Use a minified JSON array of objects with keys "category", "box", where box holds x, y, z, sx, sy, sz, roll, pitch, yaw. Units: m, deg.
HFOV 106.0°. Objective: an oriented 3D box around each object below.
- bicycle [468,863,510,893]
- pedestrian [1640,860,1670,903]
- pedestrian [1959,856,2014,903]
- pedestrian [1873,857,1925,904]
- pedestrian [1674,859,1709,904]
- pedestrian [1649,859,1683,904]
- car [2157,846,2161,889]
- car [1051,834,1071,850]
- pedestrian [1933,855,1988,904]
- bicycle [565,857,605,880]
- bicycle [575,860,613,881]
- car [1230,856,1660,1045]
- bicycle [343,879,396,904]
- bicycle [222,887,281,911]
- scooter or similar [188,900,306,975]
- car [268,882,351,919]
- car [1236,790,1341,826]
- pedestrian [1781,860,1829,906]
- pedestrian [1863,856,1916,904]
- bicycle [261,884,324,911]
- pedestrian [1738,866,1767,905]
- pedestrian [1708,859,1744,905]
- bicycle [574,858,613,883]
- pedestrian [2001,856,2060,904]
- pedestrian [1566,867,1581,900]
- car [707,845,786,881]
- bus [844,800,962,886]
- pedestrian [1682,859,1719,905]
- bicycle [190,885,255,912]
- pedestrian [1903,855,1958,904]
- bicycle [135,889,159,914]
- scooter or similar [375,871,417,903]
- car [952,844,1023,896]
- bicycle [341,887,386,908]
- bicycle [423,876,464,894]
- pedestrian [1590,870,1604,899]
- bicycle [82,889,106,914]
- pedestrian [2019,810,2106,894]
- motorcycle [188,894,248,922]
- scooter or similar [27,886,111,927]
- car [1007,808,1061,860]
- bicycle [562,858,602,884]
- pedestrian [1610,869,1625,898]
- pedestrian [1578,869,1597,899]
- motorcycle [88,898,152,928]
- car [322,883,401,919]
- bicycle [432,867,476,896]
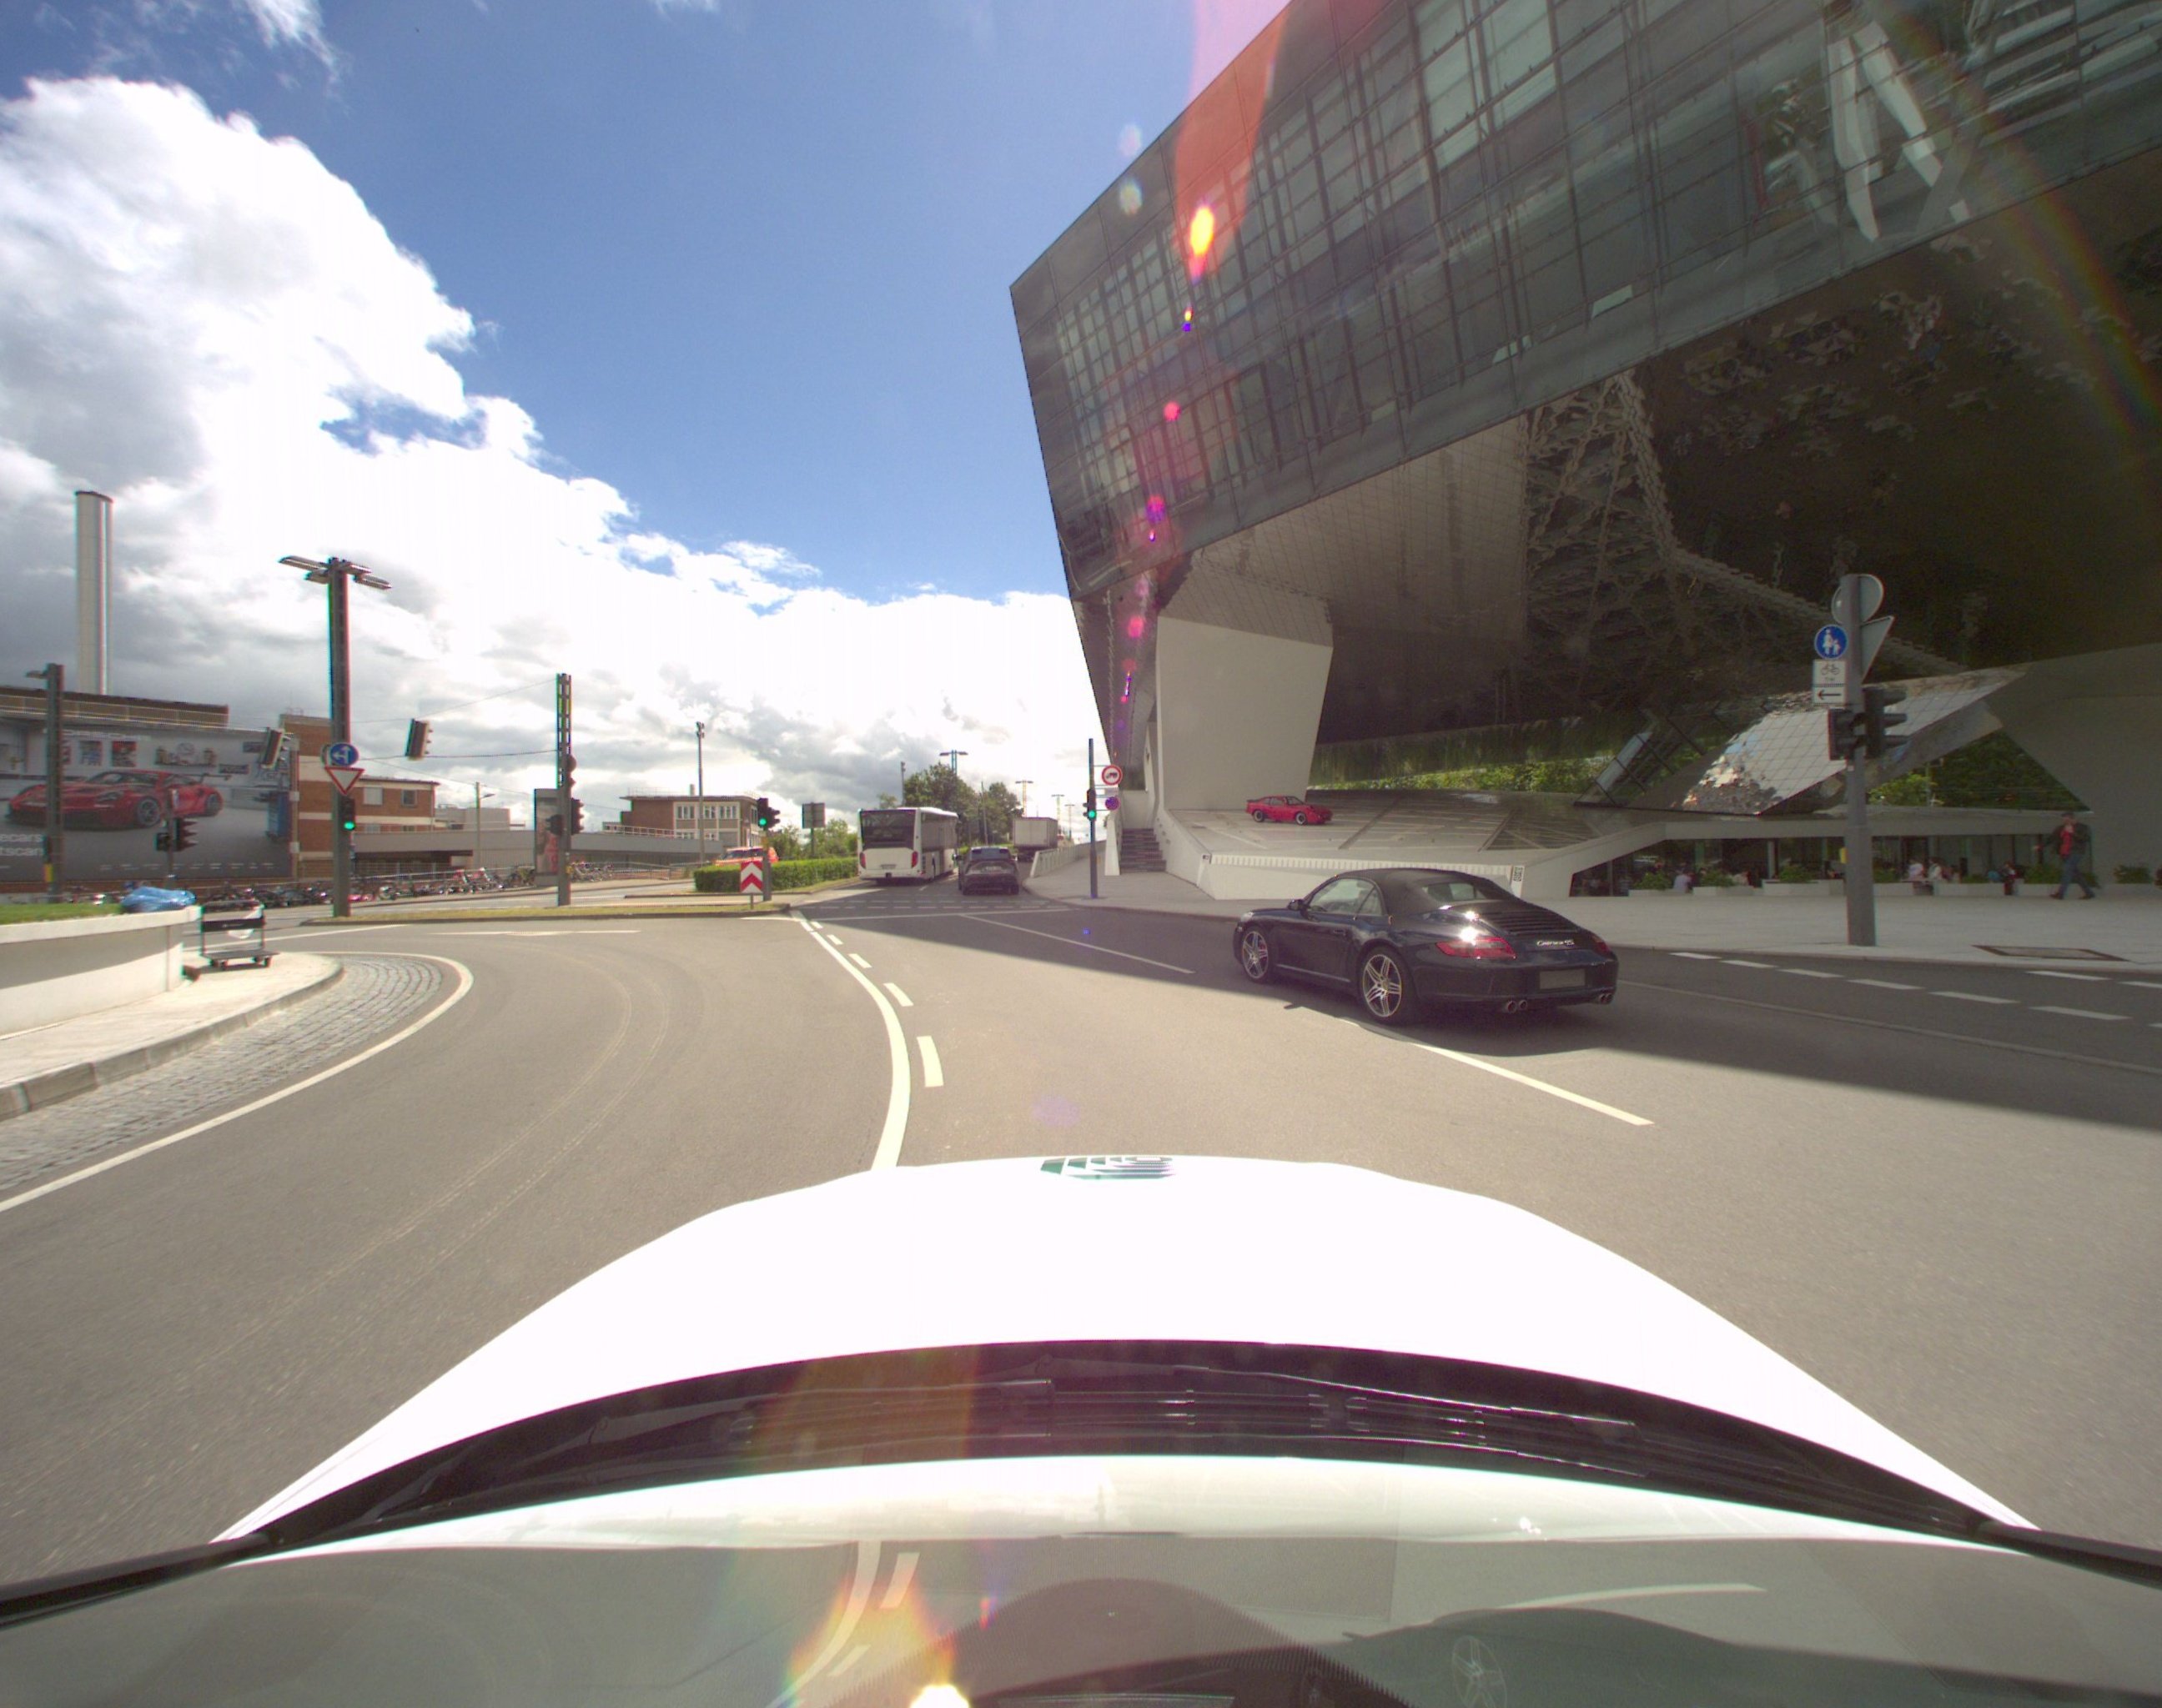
[{"category":"bicycle","box":[-27.813,1.107,38.241,1.599,1.383,0.493,0,-2,3]},{"category":"pedestrian","box":[21.197,0.999,30.104,0.820,1.573,0.929,-1,-2,31]},{"category":"pedestrian","box":[30.925,0.869,27.816,0.825,1.573,0.923,0,-2,1]},{"category":"pedestrian","box":[27.889,0.887,27.782,0.826,1.573,0.922,0,-2,-5]},{"category":"pedestrian","box":[22.042,0.988,29.434,0.911,1.573,0.835,-1,-2,31]},{"category":"pedestrian","box":[20.739,0.971,28.867,0.820,1.573,0.929,-1,-2,26]},{"category":"car","box":[32.858,0.363,21.812,2.005,1.221,4.634,1,-1,-29]},{"category":"car","box":[-2.428,-1.447,100.454,1.984,1.904,4.004,0,-1,4]},{"category":"pedestrian","box":[29.232,0.847,27.072,0.826,1.573,0.922,0,-2,-5]},{"category":"bicycle","box":[-27.257,0.799,44.794,1.731,1.181,0.670,0,4,1]},{"category":"bicycle","box":[-27.246,0.907,45.607,1.730,1.182,0.670,0,0,3]},{"category":"car","box":[3.187,0.708,8.128,1.837,1.325,3.980,-1,0,-14]},{"category":"bicycle","box":[-29.548,1.549,33.846,0.487,0.866,1.618,-2,2,15]},{"category":"bicycle","box":[-33.437,1.801,32.857,1.620,0.866,0.486,-2,1,-44]},{"category":"scooter or similar","box":[-11.094,1.081,10.829,1.245,0.848,0.914,-1,0,36]},{"category":"car","box":[-39.382,2.355,41.604,3.443,1.785,1.638,0,-2,19]},{"category":"car","box":[9.726,-2.227,38.495,2.011,1.394,4.462,-5,9,-39]},{"category":"pedestrian","box":[25.299,1.006,28.459,0.826,1.573,0.922,0,-2,-5]},{"category":"pedestrian","box":[26.879,0.862,27.081,0.826,1.573,0.922,0,-2,-5]},{"category":"bicycle","box":[-30.484,1.684,31.507,0.486,0.866,1.621,-1,3,32]},{"category":"pedestrian","box":[23.152,1.090,28.074,0.697,1.318,0.637,1,-2,-38]},{"category":"pedestrian","box":[22.753,0.976,28.735,0.696,1.573,0.787,1,-2,-34]},{"category":"bicycle","box":[-26.857,0.914,44.910,1.730,1.381,0.670,0,-2,3]},{"category":"pedestrian","box":[31.265,0.849,26.829,0.825,1.573,0.923,0,-2,1]},{"category":"pedestrian","box":[19.229,1.155,31.798,0.391,1.253,0.402,0,-2,14]},{"category":"car","box":[-19.896,0.467,48.735,1.981,1.983,4.852,-2,1,11]},{"category":"bus","box":[-7.914,-0.586,38.219,3.063,3.361,12.218,0,2,-1]},{"category":"pedestrian","box":[21.473,0.960,28.260,0.911,1.573,0.835,-1,-2,31]},{"category":"bicycle","box":[-31.609,1.644,30.016,0.486,0.866,1.621,-1,1,44]},{"category":"pedestrian","box":[27.966,0.836,26.816,0.826,1.573,0.922,0,-2,-5]},{"category":"bicycle","box":[-35.054,1.770,30.570,1.590,0.866,0.496,-1,-2,38]},{"category":"scooter or similar","box":[-28.618,1.370,34.026,0.491,1.231,1.392,0,2,3]},{"category":"car","box":[-3.284,0.488,28.011,1.996,1.636,3.982,0,0,-13]},{"category":"bicycle","box":[-32.698,1.975,37.132,0.488,0.866,1.614,0,-1,7]},{"category":"bicycle","box":[-31.438,1.512,40.202,0.487,0.866,1.617,-2,-2,15]},{"category":"pedestrian","box":[22.849,1.355,36.066,0.468,1.253,0.565,-1,-2,26]},{"category":"bicycle","box":[-35.856,1.706,29.572,1.590,0.866,0.496,-1,-2,38]},{"category":"pedestrian","box":[21.937,-0.027,18.220,0.826,1.826,0.922,0,-2,-5]},{"category":"motorcycle","box":[-40.668,2.522,38.370,2.878,1.196,0.925,0,-2,22]},{"category":"scooter or similar","box":[-34.315,1.771,27.637,1.641,1.181,0.496,-5,2,-41]},{"category":"car","box":[-3.396,-1.378,61.670,3.324,3.504,9.342,0,-1,1]},{"category":"bicycle","box":[-26.907,0.903,43.945,1.730,1.381,0.670,0,-2,3]},{"category":"pedestrian","box":[23.539,1.288,35.726,0.468,1.253,0.565,-1,-2,26]},{"category":"pedestrian","box":[21.226,1.247,34.124,0.555,1.253,0.477,-1,-2,44]},{"category":"motorcycle","box":[-42.048,2.567,35.637,2.878,1.196,0.925,0,-2,22]},{"category":"car","box":[-38.866,2.516,43.997,3.443,1.804,1.712,0,-2,20]},{"category":"bicycle","box":[-28.342,1.248,36.835,1.599,1.316,0.493,0,-2,3]}]
